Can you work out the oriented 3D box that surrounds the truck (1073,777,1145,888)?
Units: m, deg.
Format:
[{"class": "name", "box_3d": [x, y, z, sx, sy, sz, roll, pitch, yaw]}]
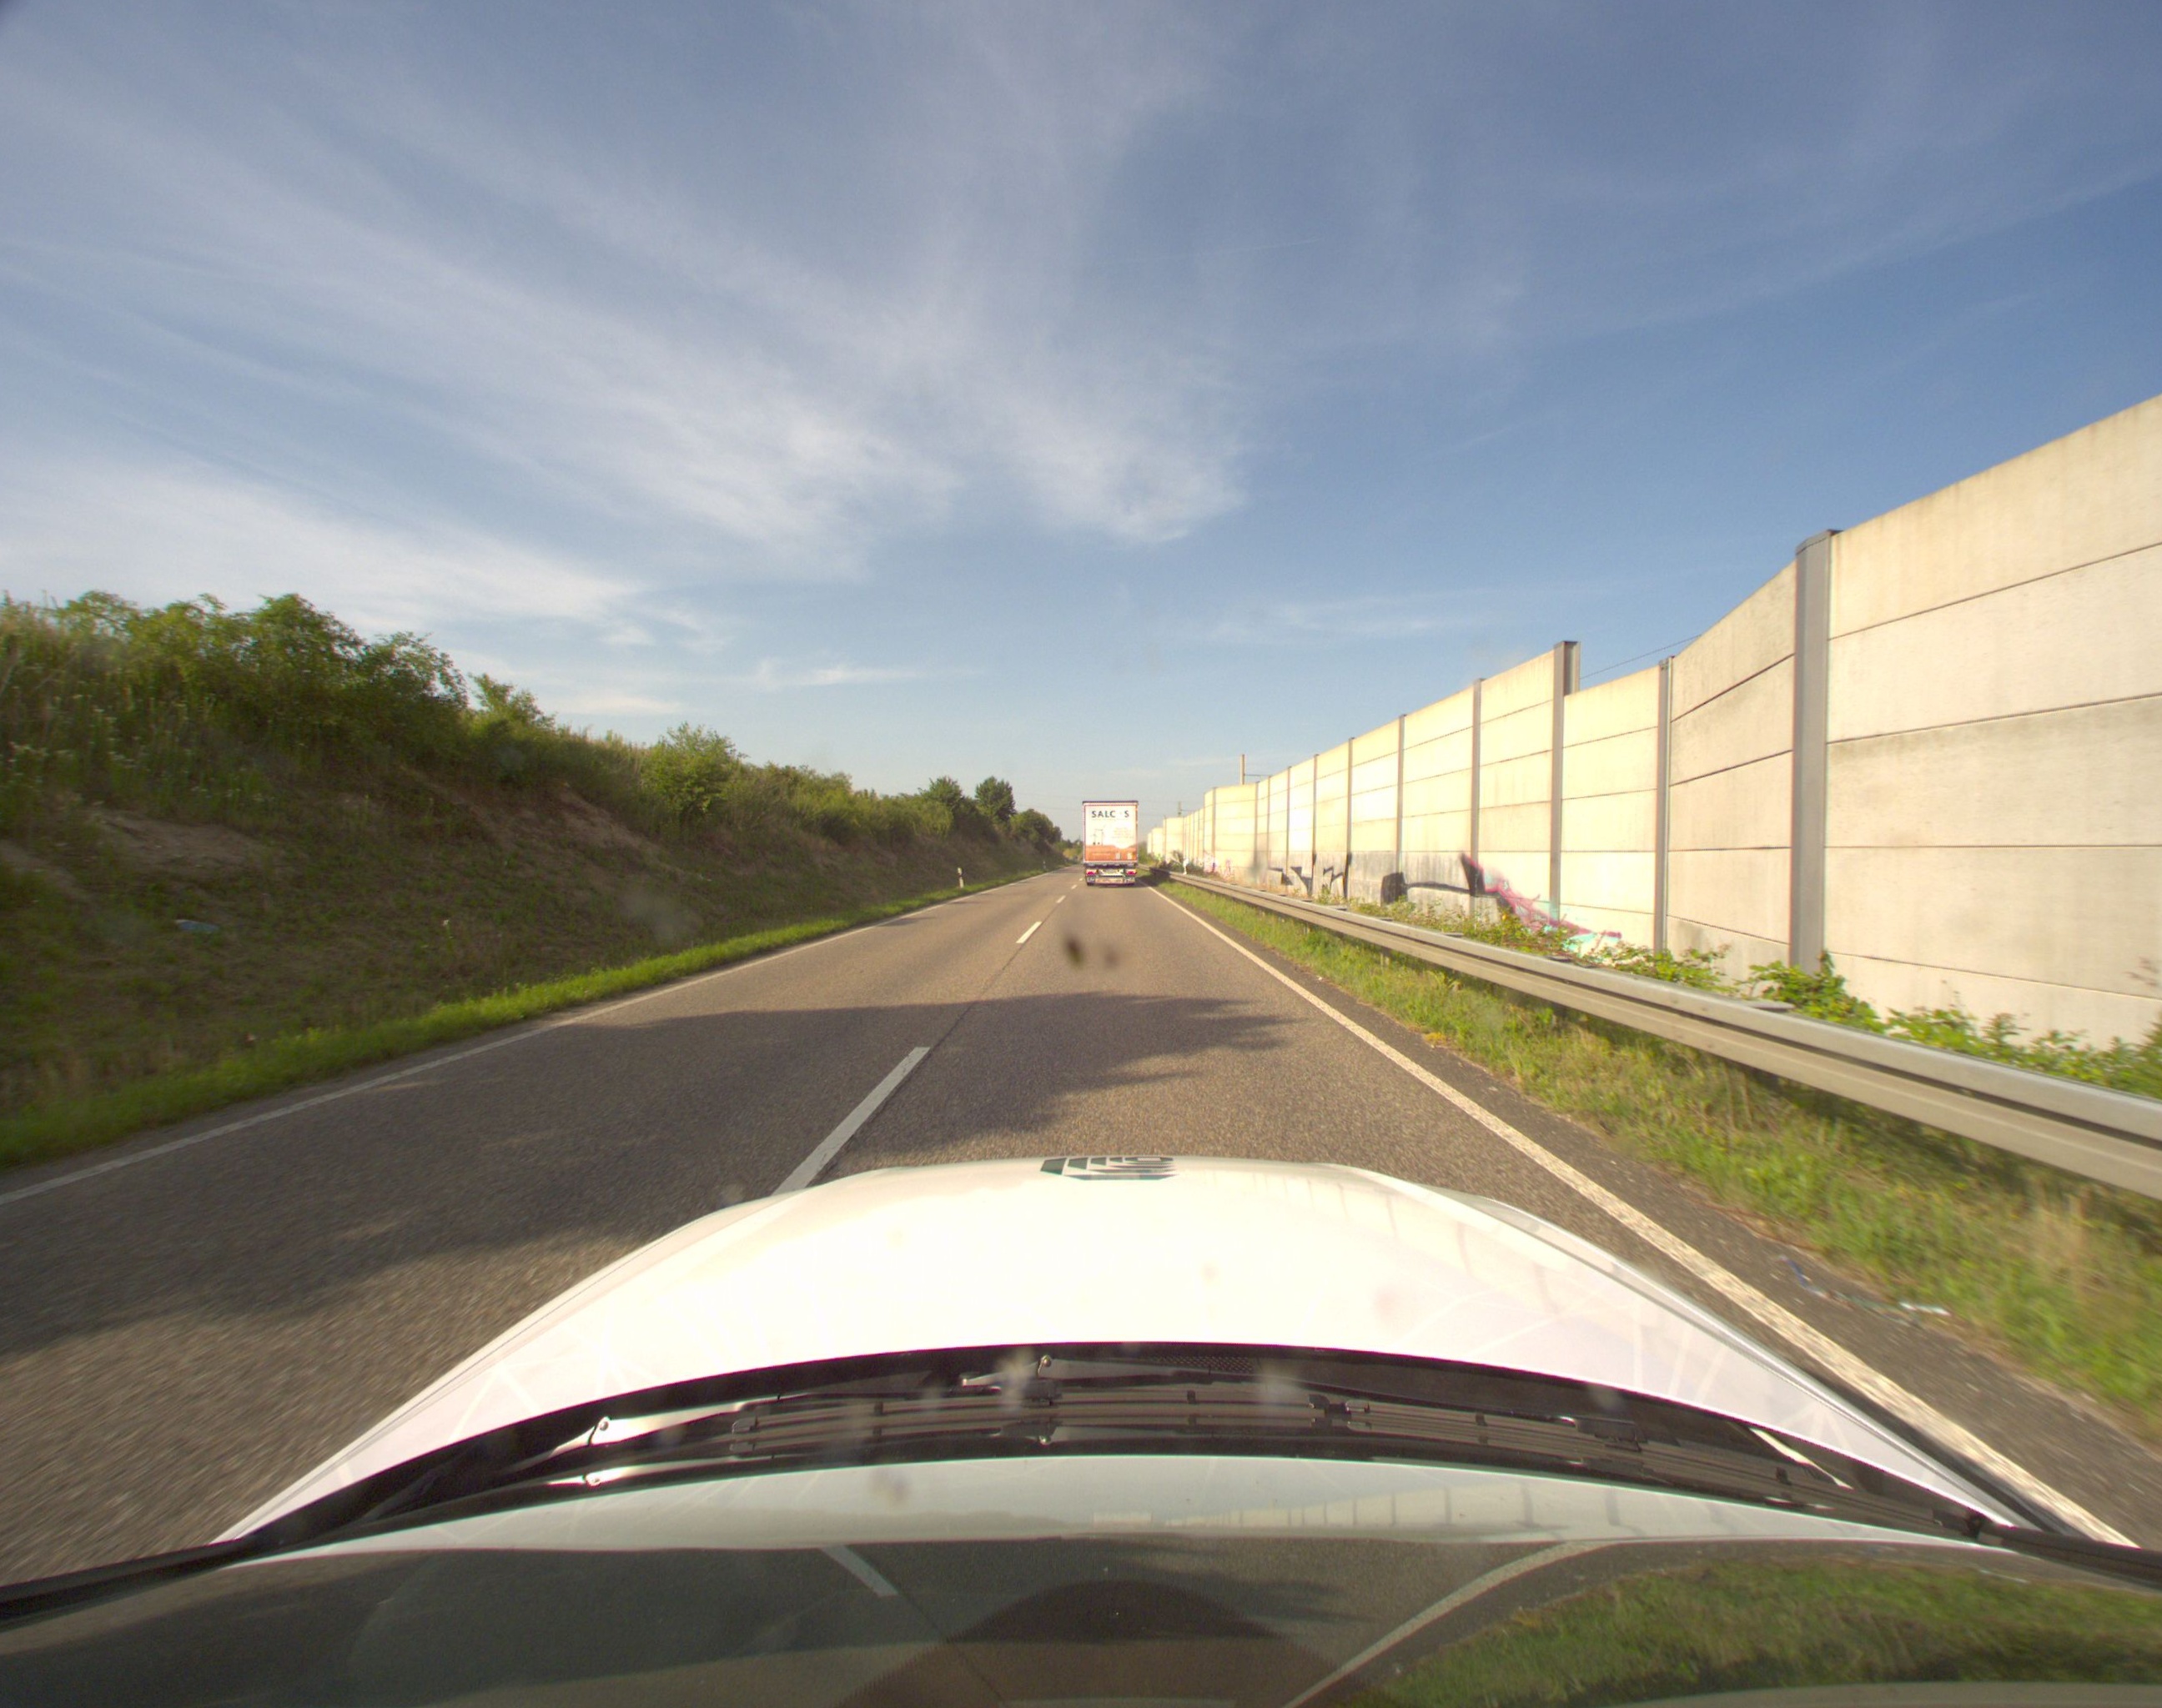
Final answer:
[{"class": "truck", "box_3d": [1.280, -1.028, 43.719, 3.280, 5.090, 12.036, -1, 0, 0]}]
